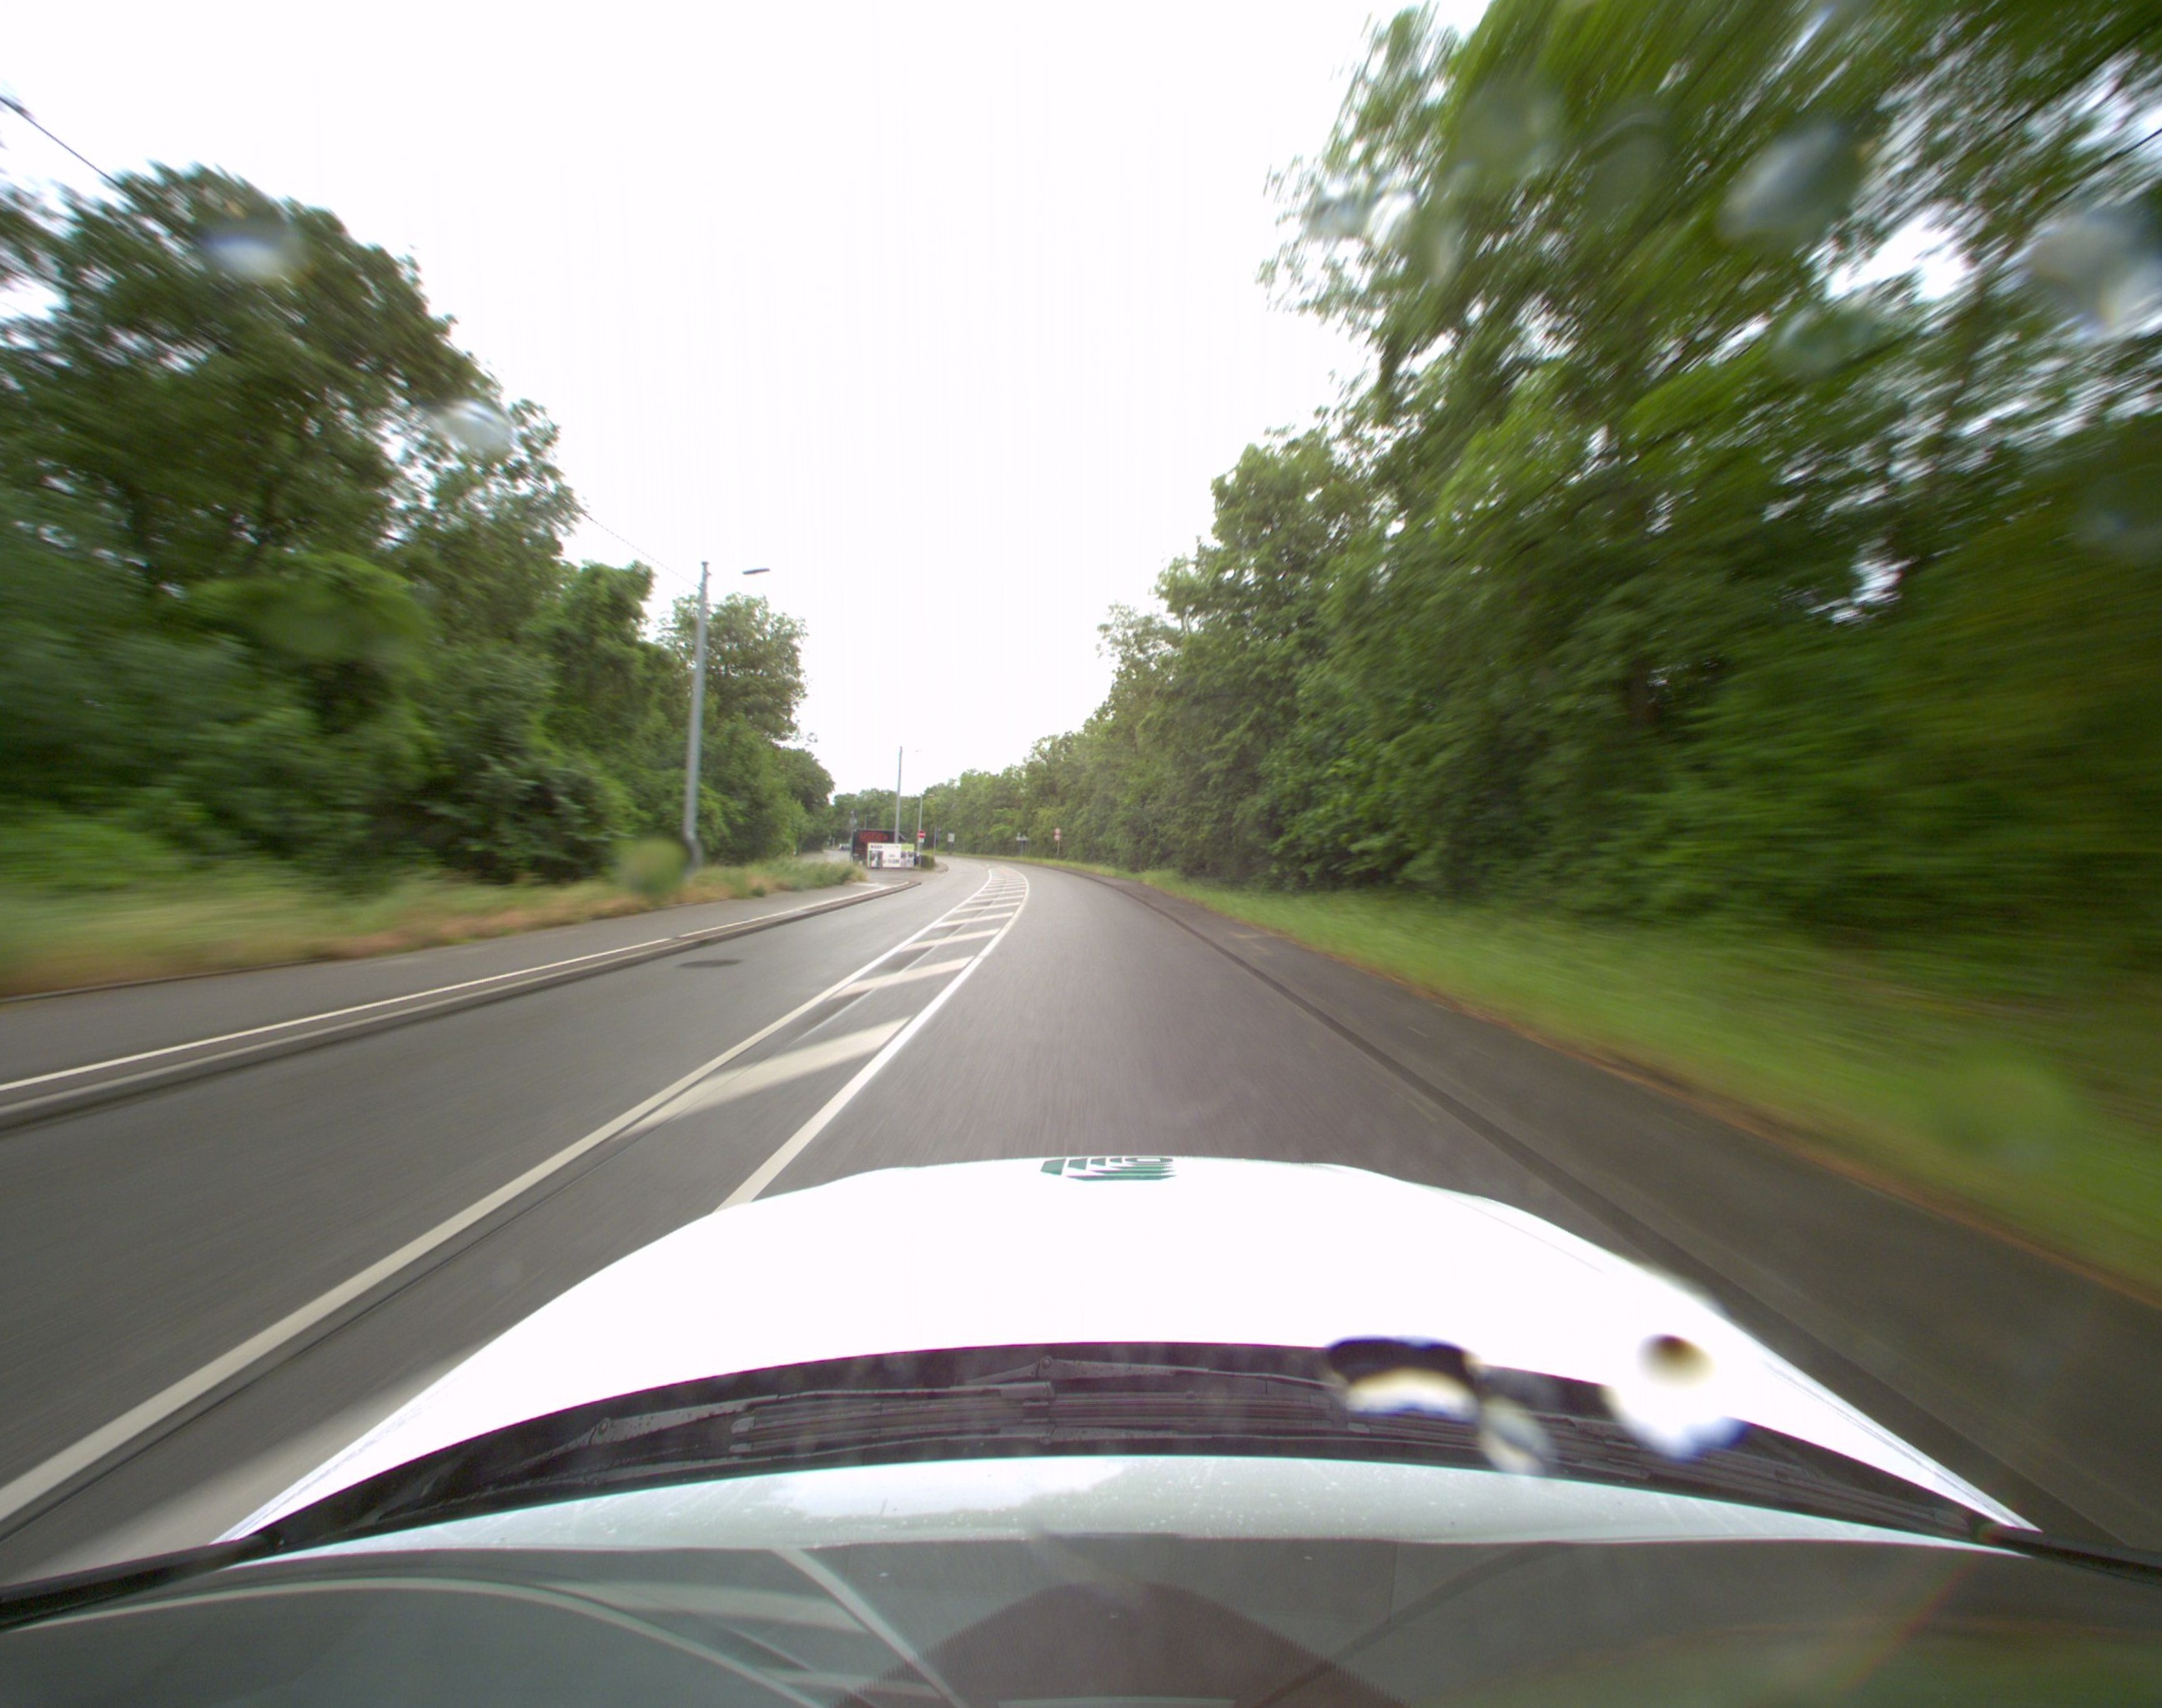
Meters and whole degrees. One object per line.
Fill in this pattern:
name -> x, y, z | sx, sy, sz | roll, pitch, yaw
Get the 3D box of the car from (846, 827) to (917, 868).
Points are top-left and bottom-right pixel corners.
car -> -17.459, -0.536, 71.356 | 5.956, 3.502, 1.990 | 0, 0, -15
